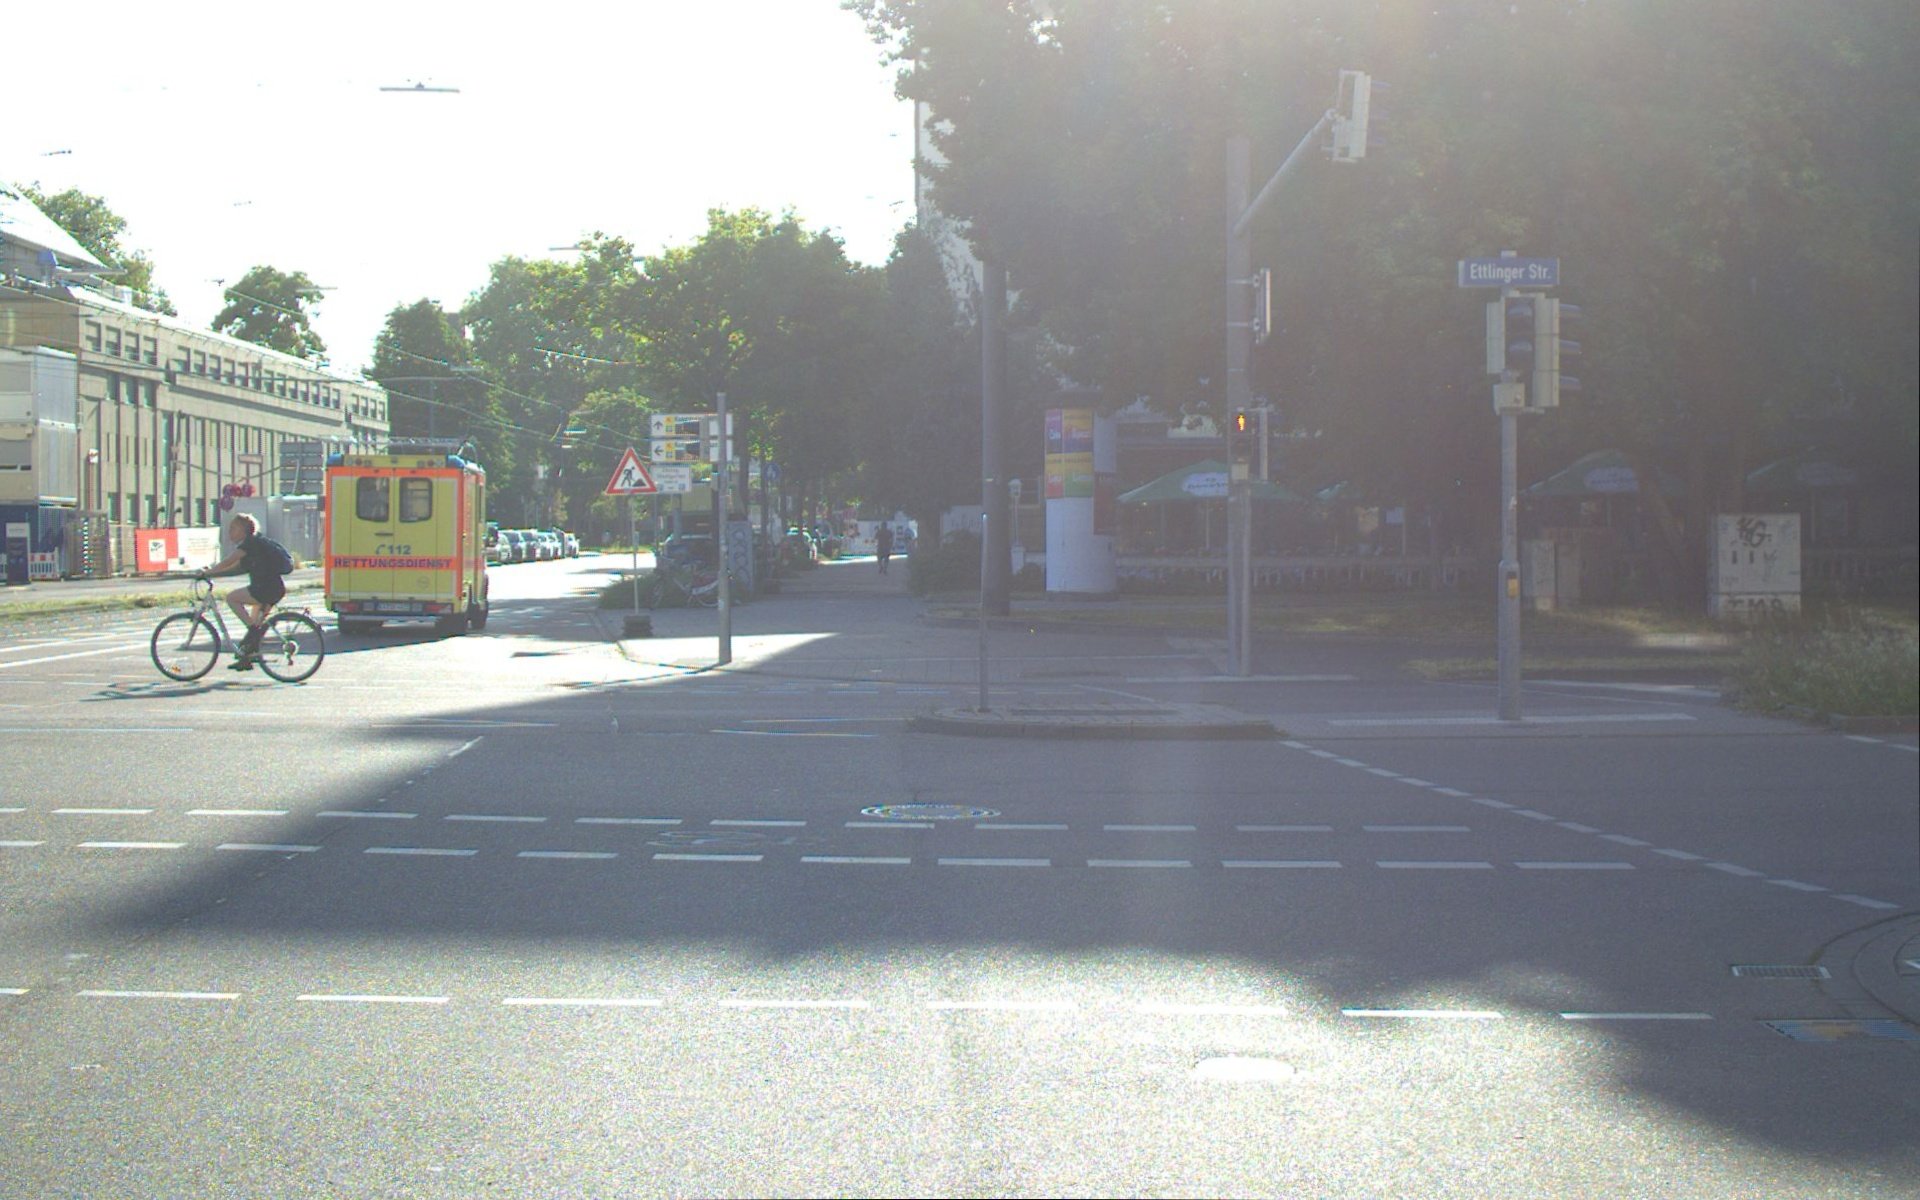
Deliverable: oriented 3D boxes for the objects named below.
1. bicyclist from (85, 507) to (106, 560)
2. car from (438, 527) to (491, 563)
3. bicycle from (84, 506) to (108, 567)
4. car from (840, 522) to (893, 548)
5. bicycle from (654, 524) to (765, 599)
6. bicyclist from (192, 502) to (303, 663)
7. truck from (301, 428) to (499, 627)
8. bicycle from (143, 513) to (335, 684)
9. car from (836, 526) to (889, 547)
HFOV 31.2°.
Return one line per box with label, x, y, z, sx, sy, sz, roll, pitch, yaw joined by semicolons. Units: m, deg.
bicyclist;-32.708;-2.513;130.074;0.571;2.017;0.762;0;1;-2
car;-22.529;-2.523;156.470;1.894;1.601;4.501;0;1;-2
bicycle;-32.708;-2.420;130.156;0.571;2.288;1.422;0;1;-2
car;-5.819;-4.045;213.465;3.214;1.583;1.446;1;0;-4
bicycle;-5.921;-0.912;81.345;2.547;1.737;1.037;1;0;0
bicyclist;-7.348;-0.184;35.496;1.074;1.635;0.597;-1;1;-8
truck;-8.875;-1.149;55.084;2.716;3.005;6.491;0;1;-6
bicycle;-7.429;-0.026;35.488;1.897;1.729;0.597;-1;1;-8
car;-5.984;-3.887;211.147;3.217;1.259;1.373;1;0;-1
